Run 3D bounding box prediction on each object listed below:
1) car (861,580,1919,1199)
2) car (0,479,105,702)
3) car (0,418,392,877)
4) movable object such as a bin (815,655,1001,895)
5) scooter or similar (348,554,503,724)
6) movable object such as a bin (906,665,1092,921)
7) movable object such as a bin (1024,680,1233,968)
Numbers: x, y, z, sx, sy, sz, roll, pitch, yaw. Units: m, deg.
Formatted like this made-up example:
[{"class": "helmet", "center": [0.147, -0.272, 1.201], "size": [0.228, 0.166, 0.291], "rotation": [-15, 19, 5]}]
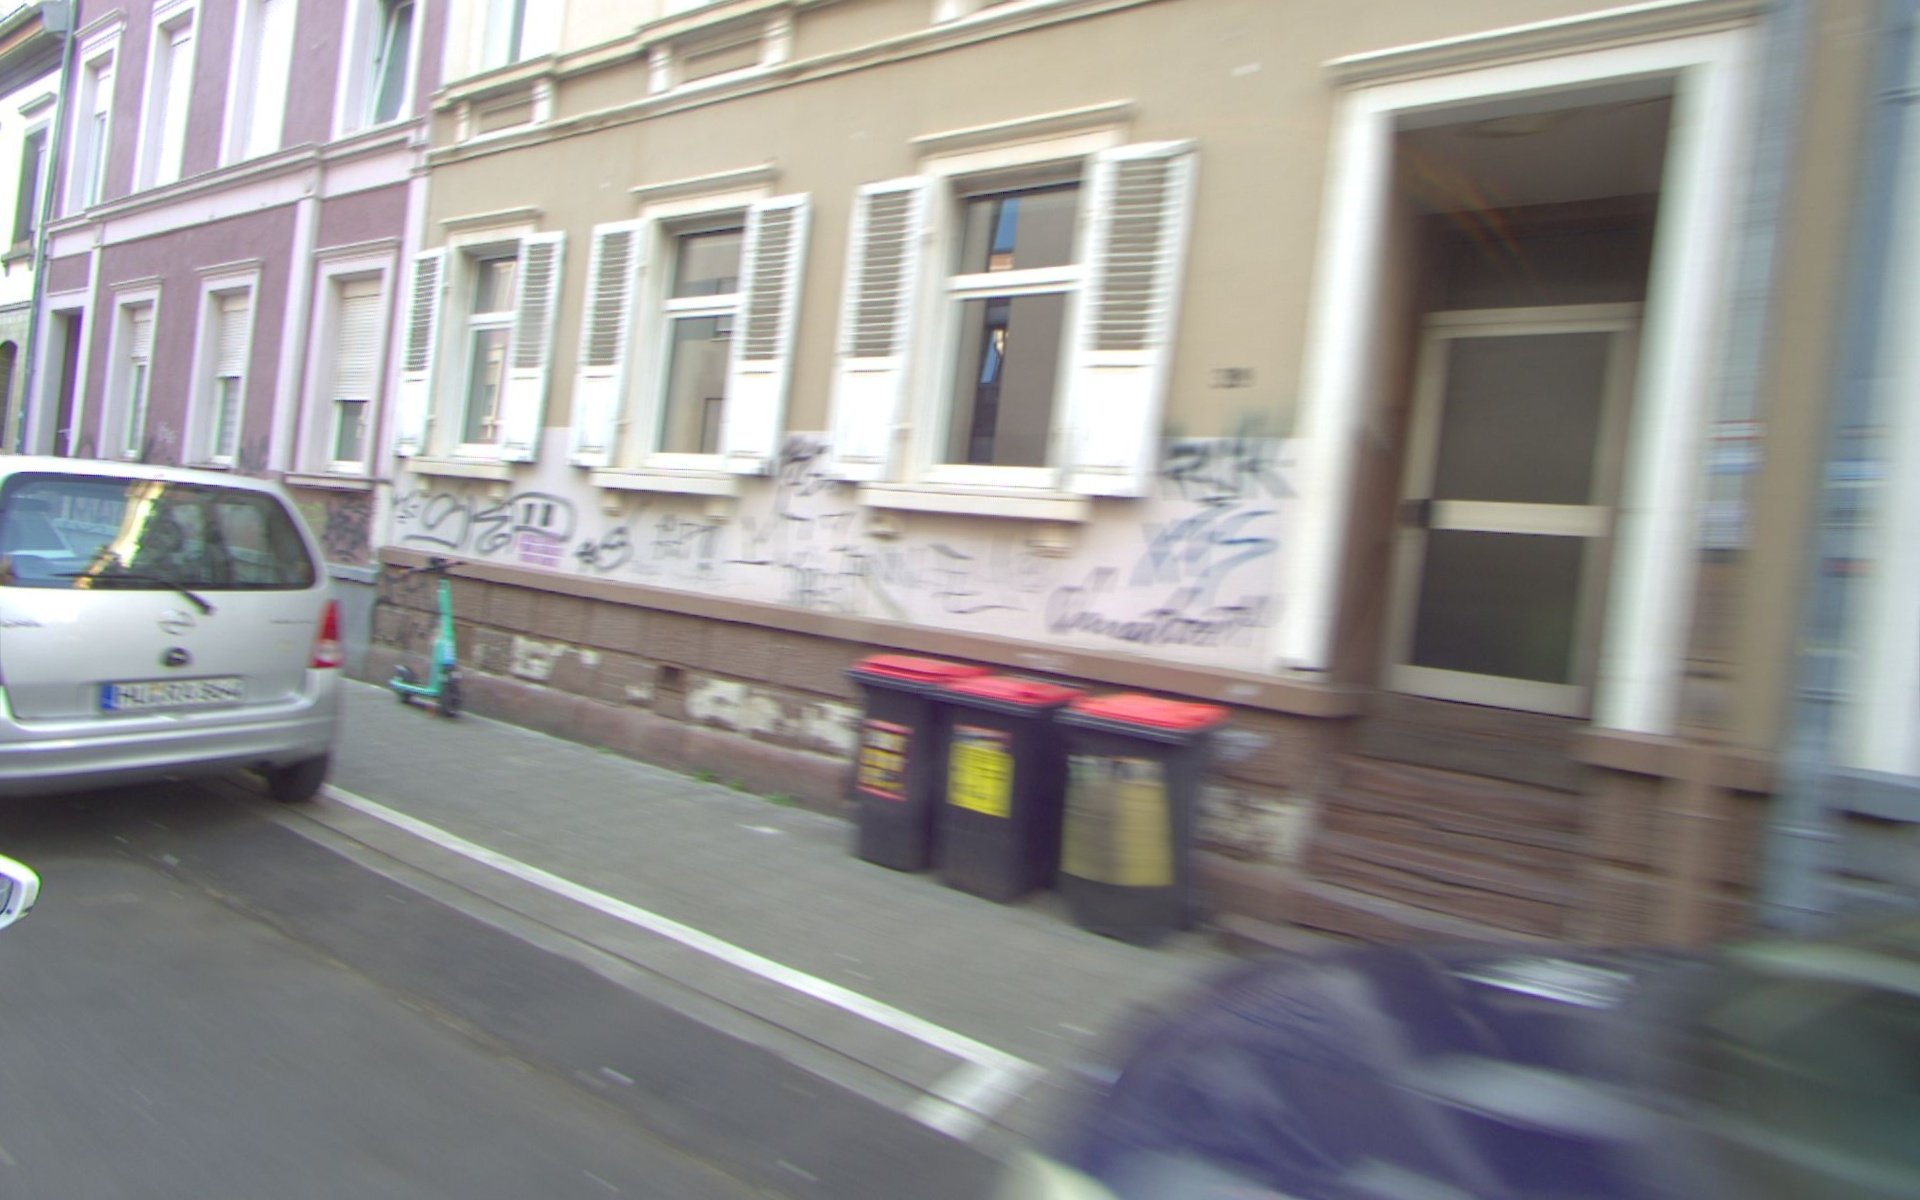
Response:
[{"class": "car", "center": [1.778, 0.978, 1.151], "size": [3.550, 1.528, 1.556], "rotation": [6, -2, 30]}, {"class": "car", "center": [-8.789, -0.281, 7.983], "size": [4.553, 1.563, 1.698], "rotation": [6, 1, 32]}, {"class": "car", "center": [-4.792, 0.096, 5.234], "size": [3.500, 1.731, 1.559], "rotation": [6, -2, 32]}, {"class": "movable object such as a bin", "center": [-0.259, 0.872, 5.310], "size": [0.550, 1.102, 0.753], "rotation": [7, 2, 31]}, {"class": "scooter or similar", "center": [-4.331, 0.287, 8.121], "size": [1.346, 1.199, 0.450], "rotation": [6, 3, 32]}, {"class": "movable object such as a bin", "center": [0.207, 0.907, 5.015], "size": [0.550, 1.102, 0.694], "rotation": [7, 2, 31]}, {"class": "movable object such as a bin", "center": [0.783, 0.963, 4.611], "size": [0.622, 1.102, 0.694], "rotation": [7, 2, 32]}]
